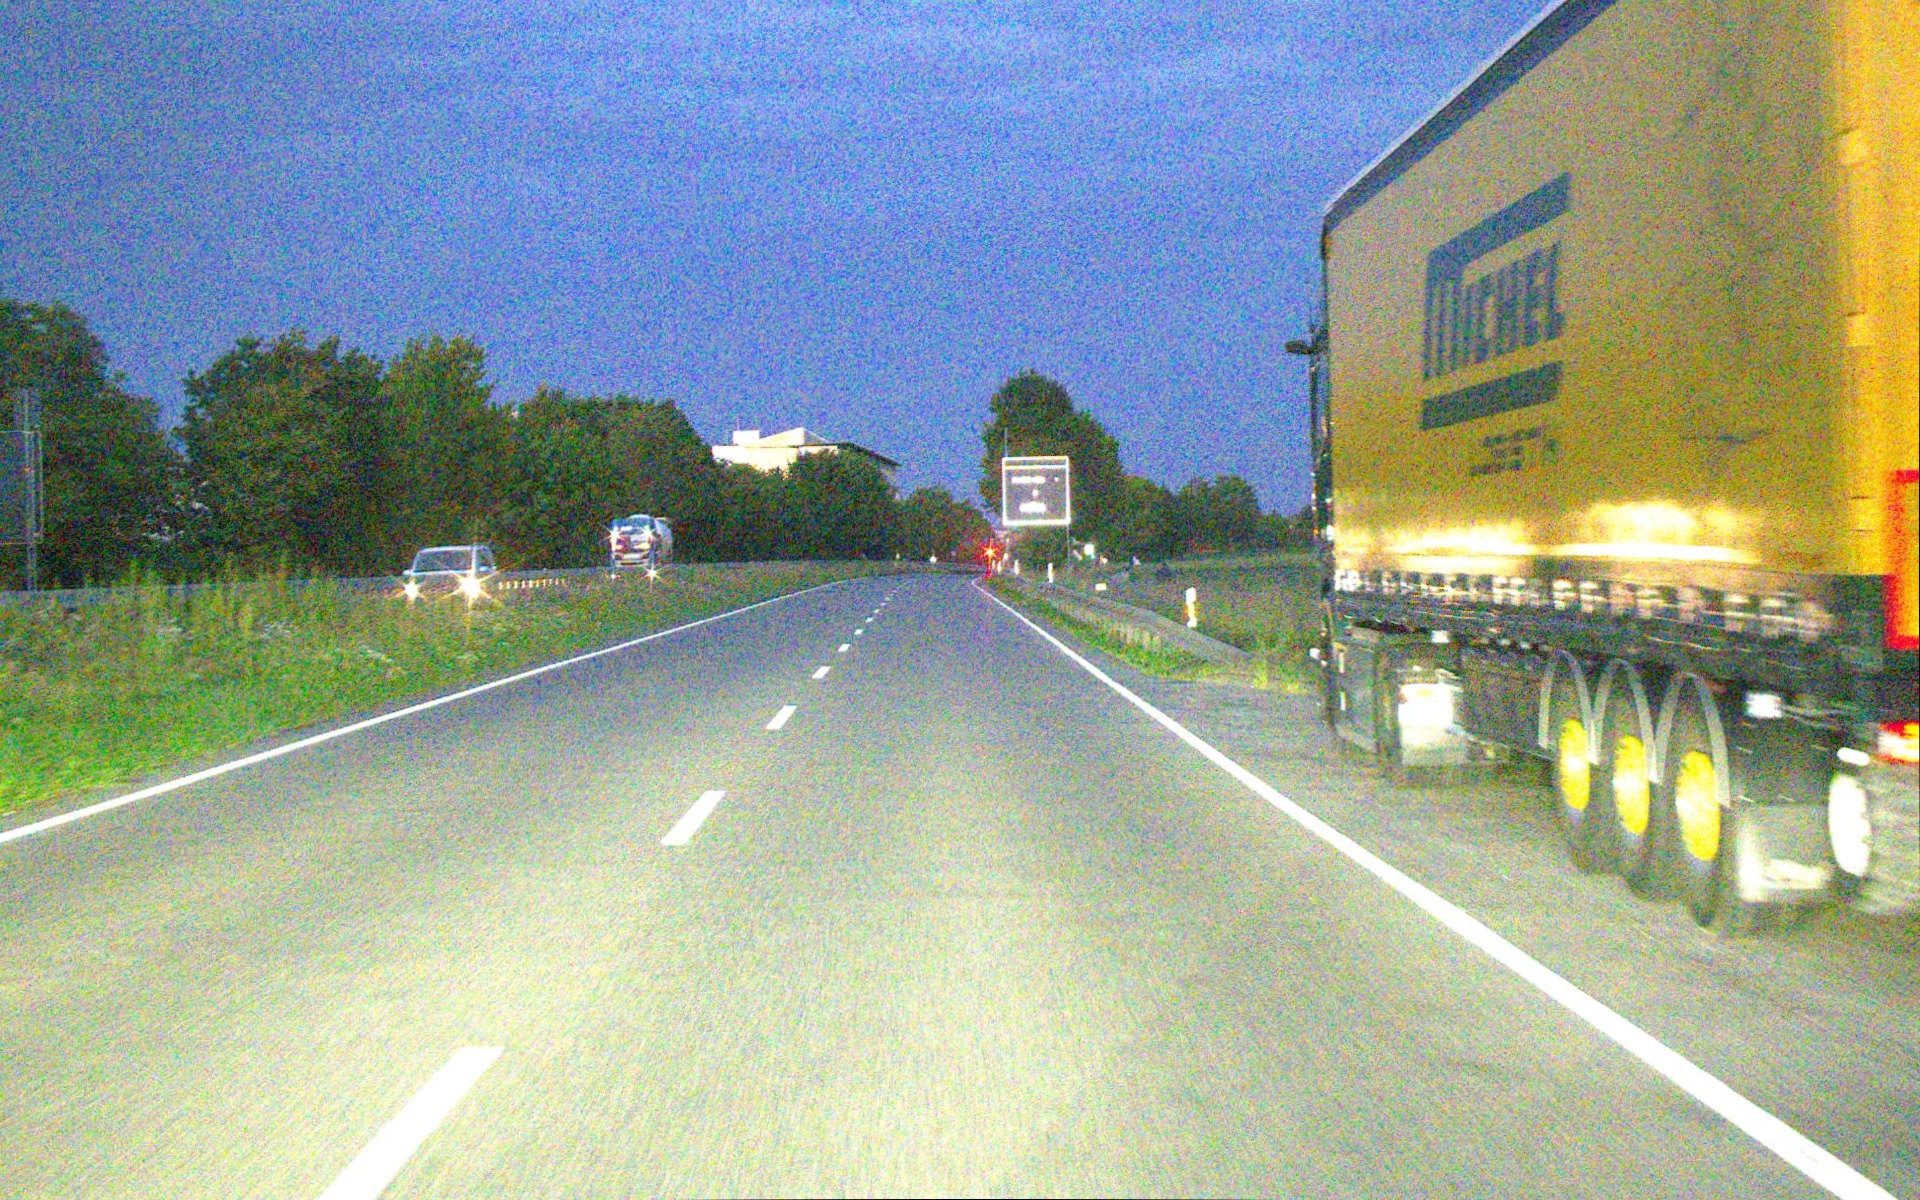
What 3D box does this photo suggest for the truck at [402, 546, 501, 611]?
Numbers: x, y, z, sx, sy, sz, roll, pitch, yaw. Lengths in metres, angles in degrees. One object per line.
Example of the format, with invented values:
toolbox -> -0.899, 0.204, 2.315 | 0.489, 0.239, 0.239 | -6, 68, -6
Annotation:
truck -> -13.432, -0.576, 91.057 | 2.016, 1.647, 4.774 | 1, 1, -1

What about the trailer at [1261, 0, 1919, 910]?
trailer -> 3.783, -0.880, 20.742 | 2.622, 4.090, 12.938 | -1, 1, -1

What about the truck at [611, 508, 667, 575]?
truck -> -16.775, -3.030, 179.982 | 2.219, 3.433, 6.715 | 1, 1, 1

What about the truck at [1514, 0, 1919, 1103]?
truck -> 3.858, -0.723, 12.414 | 2.579, 4.057, 6.130 | 0, 1, -1
